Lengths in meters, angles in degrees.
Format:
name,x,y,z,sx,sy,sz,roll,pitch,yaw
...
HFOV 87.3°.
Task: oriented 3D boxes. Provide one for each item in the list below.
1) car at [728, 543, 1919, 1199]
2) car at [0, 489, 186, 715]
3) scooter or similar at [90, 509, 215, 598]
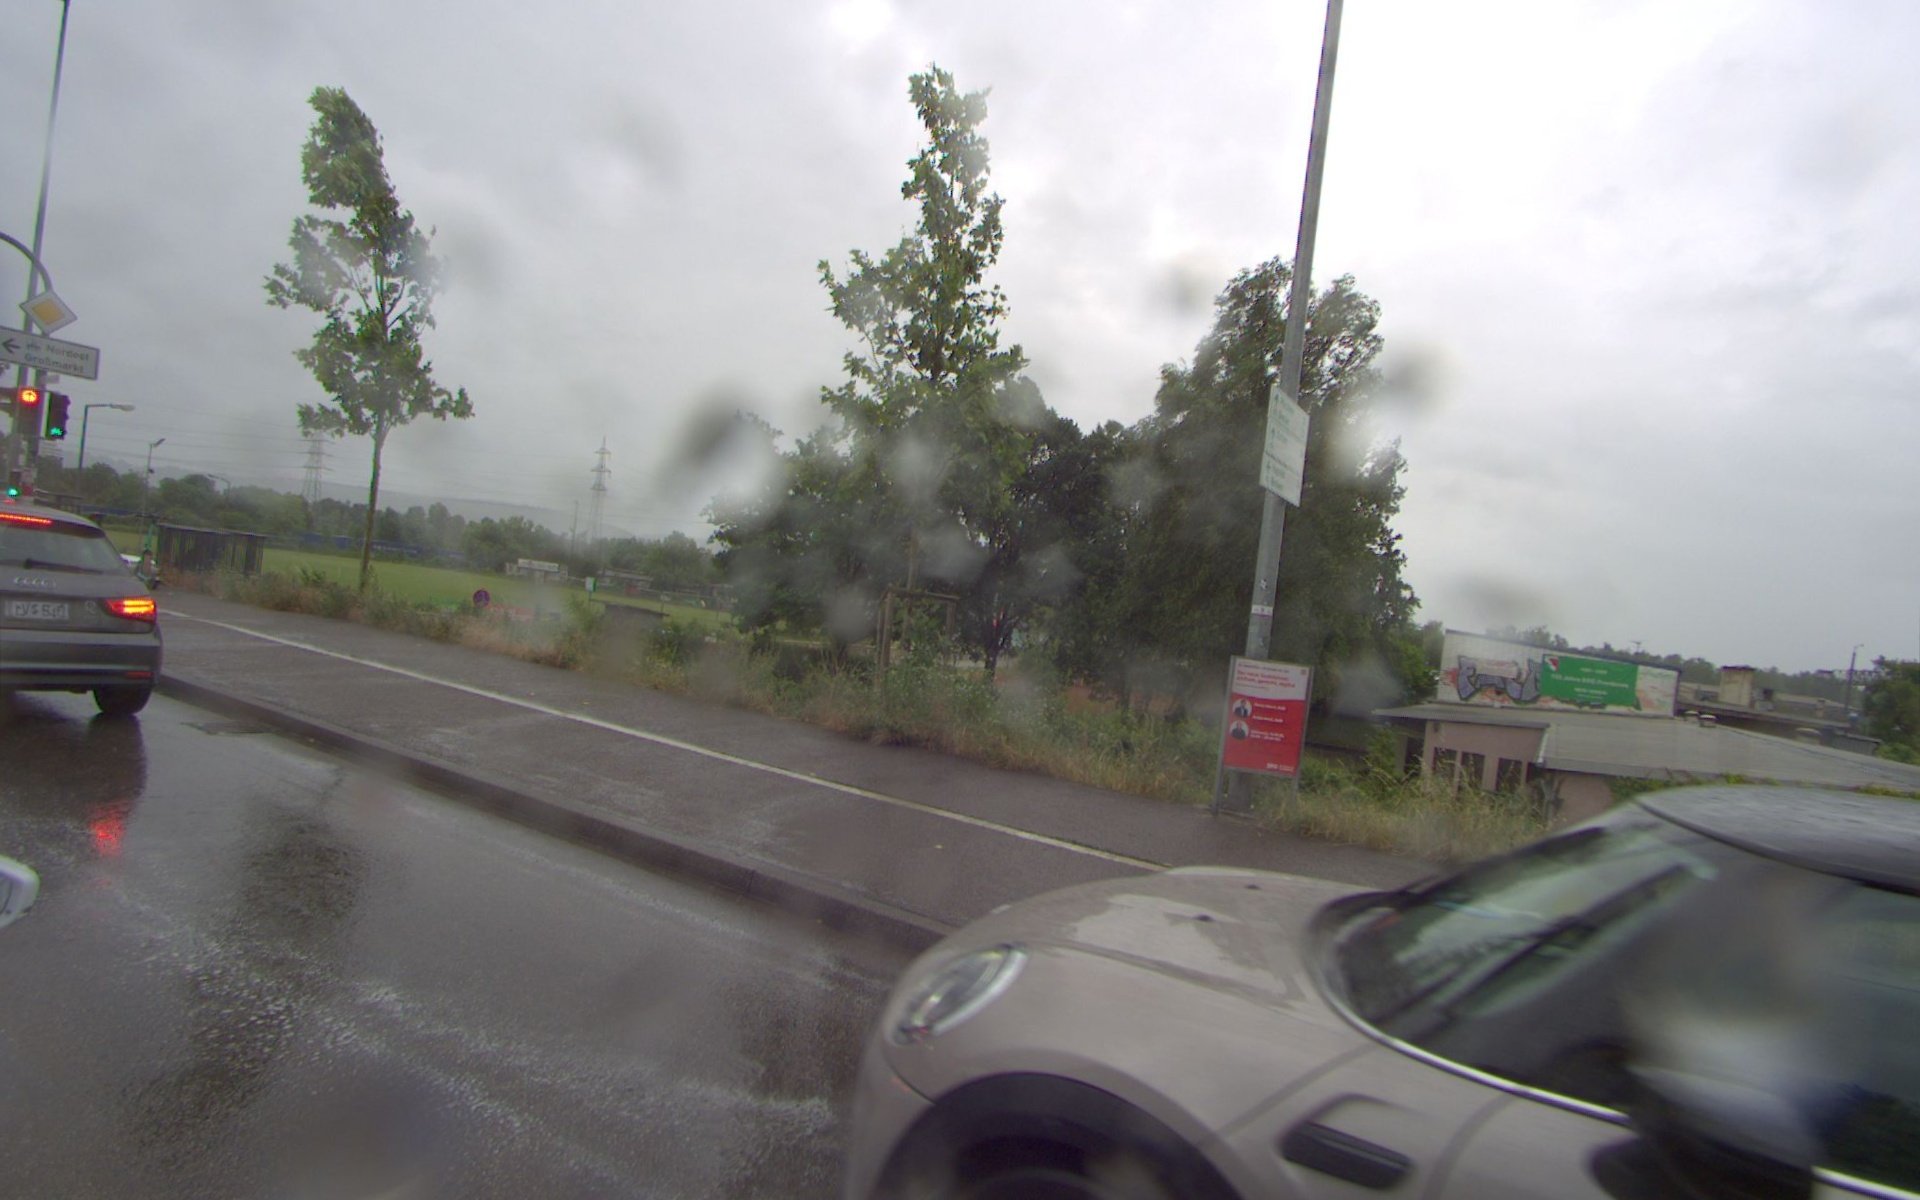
name,x,y,z,sx,sy,sz,roll,pitch,yaw
car,1.651,0.972,1.807,3.814,1.526,1.706,9,0,31
car,-7.348,-0.120,7.149,3.569,1.383,1.600,5,-1,30
scooter or similar,-13.876,-0.827,17.246,2.971,1.226,0.691,7,0,33
